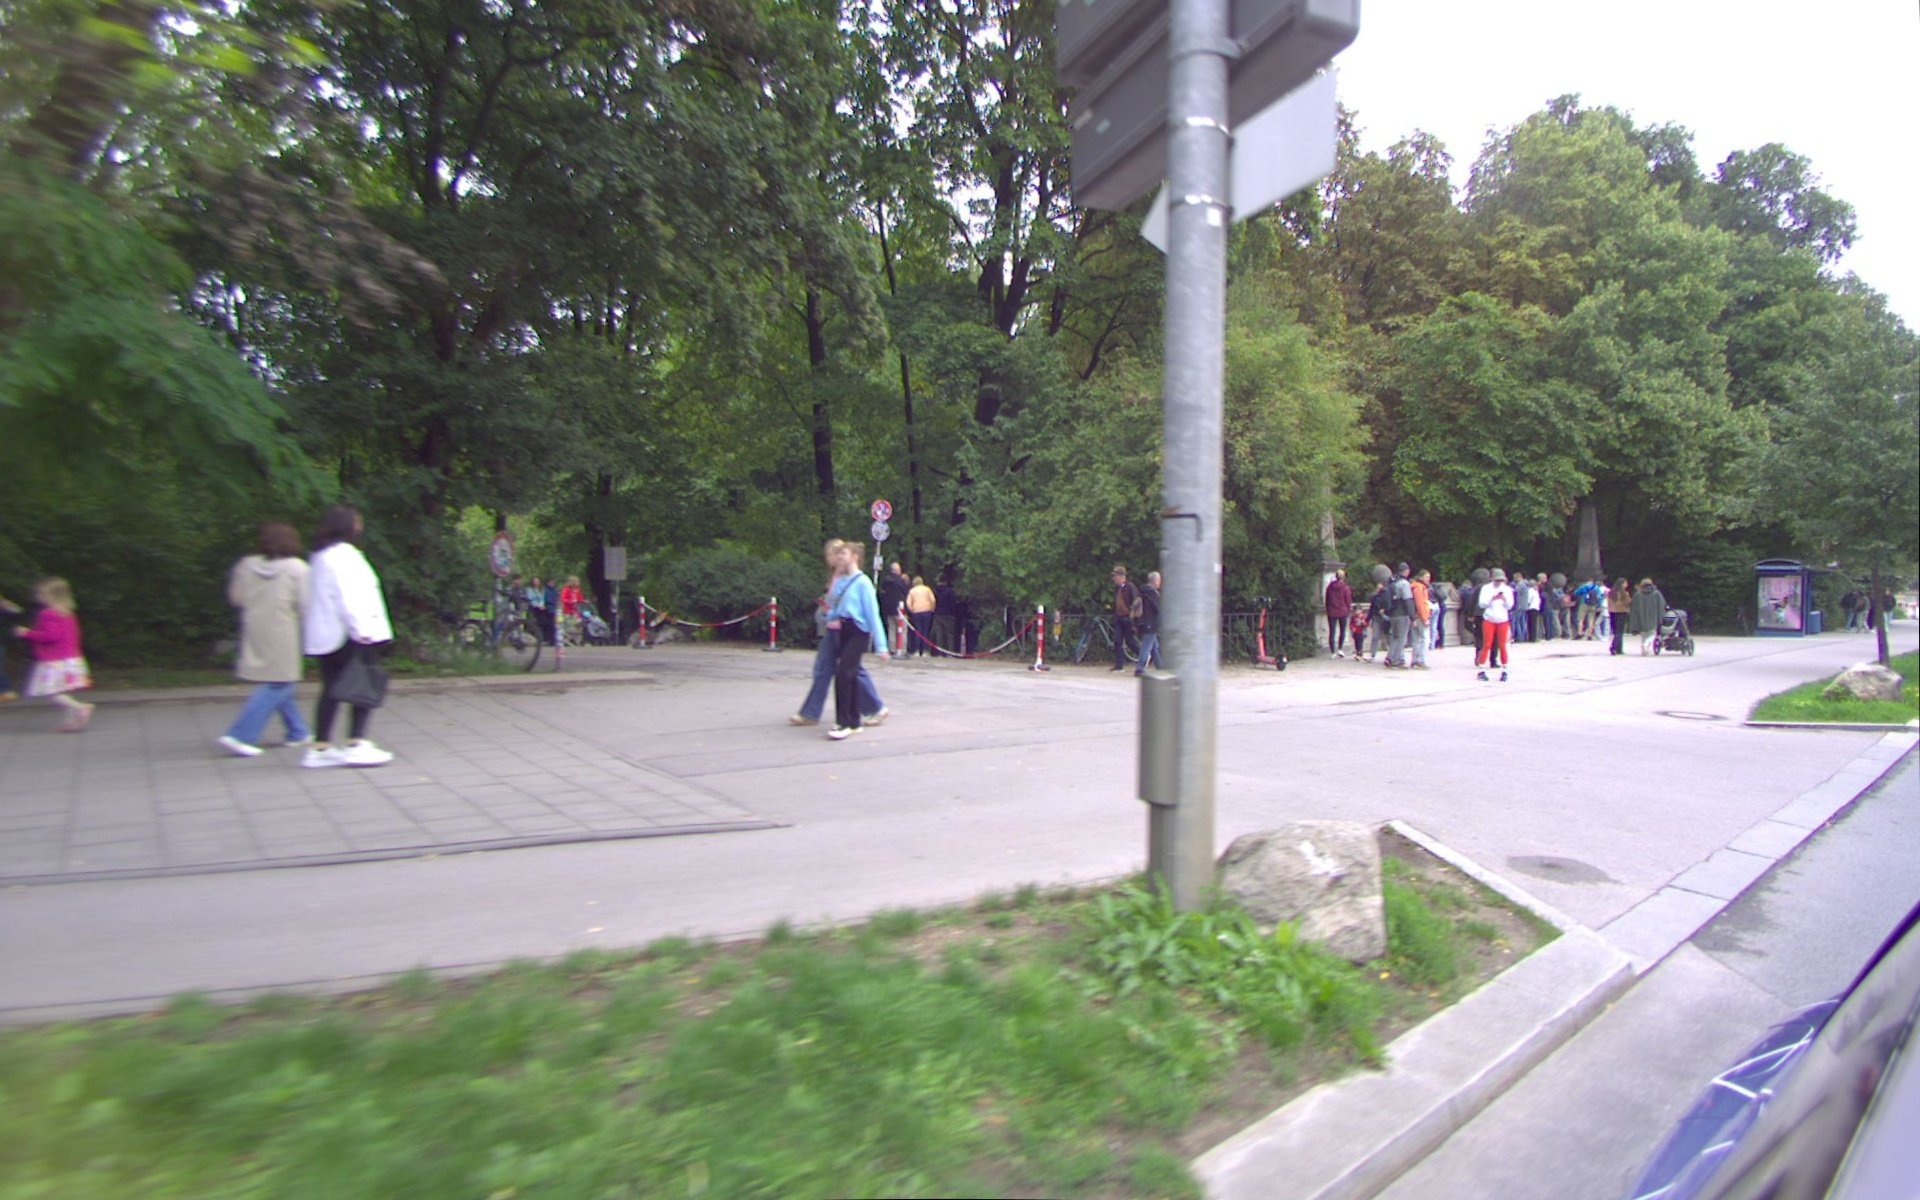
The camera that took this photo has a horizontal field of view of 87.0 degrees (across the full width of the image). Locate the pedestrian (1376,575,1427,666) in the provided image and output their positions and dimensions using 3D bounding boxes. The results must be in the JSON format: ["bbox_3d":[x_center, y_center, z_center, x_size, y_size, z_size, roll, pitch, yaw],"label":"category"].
[{"bbox_3d":[7.678,0.340,17.599,0.636,1.547,0.551,0,0,-36],"label":"pedestrian"}]

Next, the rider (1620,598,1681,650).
[{"bbox_3d":[15.596,0.531,22.857,1.221,1.126,0.767,0,0,-36],"label":"rider"}]

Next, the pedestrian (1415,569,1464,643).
[{"bbox_3d":[11.323,0.123,23.902,0.715,1.712,0.814,0,1,-38],"label":"pedestrian"}]

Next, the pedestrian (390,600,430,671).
[{"bbox_3d":[-13.479,0.856,24.792,0.687,1.717,0.605,0,0,31],"label":"pedestrian"}]

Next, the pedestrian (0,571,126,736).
[{"bbox_3d":[-6.582,0.369,7.439,0.561,1.151,0.634,0,0,-25],"label":"pedestrian"}]

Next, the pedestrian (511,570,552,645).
[{"bbox_3d":[-9.984,0.166,23.583,0.687,1.717,0.605,0,0,31],"label":"pedestrian"}]

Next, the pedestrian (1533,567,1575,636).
[{"bbox_3d":[16.612,0.037,28.297,0.715,1.875,0.814,0,0,-38],"label":"pedestrian"}]

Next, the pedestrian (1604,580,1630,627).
[{"bbox_3d":[25.291,0.138,38.946,0.522,1.790,0.639,0,0,-9],"label":"pedestrian"}]

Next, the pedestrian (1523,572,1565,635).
[{"bbox_3d":[16.056,0.089,27.848,0.661,1.712,0.814,0,0,-38],"label":"pedestrian"}]

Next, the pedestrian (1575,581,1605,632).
[{"bbox_3d":[19.287,0.193,30.981,0.523,1.526,0.637,0,0,-38],"label":"pedestrian"}]

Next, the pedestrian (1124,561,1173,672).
[{"bbox_3d":[2.908,0.252,15.621,0.683,1.672,0.608,0,0,17],"label":"pedestrian"}]

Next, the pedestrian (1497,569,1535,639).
[{"bbox_3d":[13.853,0.098,25.213,0.715,1.712,0.593,0,0,-38],"label":"pedestrian"}]

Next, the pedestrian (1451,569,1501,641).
[{"bbox_3d":[12.708,0.114,24.937,0.715,1.711,0.814,0,2,-38],"label":"pedestrian"}]

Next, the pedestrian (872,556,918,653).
[{"bbox_3d":[-1.169,0.076,18.372,0.683,1.717,0.608,0,0,14],"label":"pedestrian"}]

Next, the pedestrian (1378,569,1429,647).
[{"bbox_3d":[9.978,0.174,22.790,0.715,1.712,0.814,0,0,-38],"label":"pedestrian"}]

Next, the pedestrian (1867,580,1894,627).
[{"bbox_3d":[35.943,0.142,39.521,0.628,1.831,0.709,0,0,-41],"label":"pedestrian"}]

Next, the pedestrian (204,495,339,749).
[{"bbox_3d":[-4.817,0.139,7.129,0.676,1.664,0.758,0,0,-25],"label":"pedestrian"}]

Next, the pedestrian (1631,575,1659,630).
[{"bbox_3d":[22.635,0.085,33.427,0.523,1.790,0.637,0,0,-38],"label":"pedestrian"}]

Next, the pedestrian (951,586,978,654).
[{"bbox_3d":[0.101,0.447,22.552,0.507,1.492,0.409,0,0,-19],"label":"pedestrian"}]

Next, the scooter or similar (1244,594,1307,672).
[{"bbox_3d":[5.414,0.542,17.443,0.341,1.272,1.570,0,0,-10],"label":"scooter or similar"}]

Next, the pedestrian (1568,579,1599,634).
[{"bbox_3d":[18.853,0.196,30.603,0.523,1.637,0.637,0,0,-38],"label":"pedestrian"}]

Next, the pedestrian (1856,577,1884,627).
[{"bbox_3d":[35.733,0.066,39.746,0.940,1.939,0.709,0,0,-41],"label":"pedestrian"}]

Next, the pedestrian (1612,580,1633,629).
[{"bbox_3d":[20.720,0.145,31.643,0.434,1.526,0.421,0,0,-38],"label":"pedestrian"}]

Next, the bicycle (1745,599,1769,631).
[{"bbox_3d":[27.578,0.519,35.015,1.549,1.074,0.393,0,0,-41],"label":"bicycle"}]

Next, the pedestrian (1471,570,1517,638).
[{"bbox_3d":[13.737,0.106,26.046,0.715,1.712,0.814,0,0,-38],"label":"pedestrian"}]

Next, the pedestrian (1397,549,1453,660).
[{"bbox_3d":[8.328,0.074,18.139,0.678,1.939,0.612,0,0,-24],"label":"pedestrian"}]

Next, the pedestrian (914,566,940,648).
[{"bbox_3d":[-0.735,0.143,22.409,0.427,1.785,0.528,0,0,-19],"label":"pedestrian"}]

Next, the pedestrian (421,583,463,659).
[{"bbox_3d":[-11.995,0.472,23.436,0.687,1.717,0.605,0,0,31],"label":"pedestrian"}]

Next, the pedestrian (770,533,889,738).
[{"bbox_3d":[-1.140,0.285,8.766,0.832,1.664,0.758,0,0,-25],"label":"pedestrian"}]

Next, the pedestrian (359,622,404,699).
[{"bbox_3d":[-13.277,1.377,23.231,0.683,1.717,0.608,0,0,14],"label":"pedestrian"}]

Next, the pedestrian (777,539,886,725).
[{"bbox_3d":[-1.230,0.281,9.586,0.832,1.664,0.758,0,0,-25],"label":"pedestrian"}]

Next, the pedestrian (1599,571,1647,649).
[{"bbox_3d":[14.905,0.215,22.759,0.636,1.712,0.728,0,0,-36],"label":"pedestrian"}]

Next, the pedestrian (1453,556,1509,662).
[{"bbox_3d":[9.503,0.158,18.462,0.678,1.896,0.612,0,0,-24],"label":"pedestrian"}]

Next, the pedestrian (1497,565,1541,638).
[{"bbox_3d":[14.907,0.040,26.977,0.715,1.898,0.814,0,0,-38],"label":"pedestrian"}]

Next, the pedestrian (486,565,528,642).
[{"bbox_3d":[-10.310,0.074,23.049,0.687,1.717,0.605,0,0,31],"label":"pedestrian"}]

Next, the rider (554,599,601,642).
[{"bbox_3d":[-8.708,0.452,23.028,0.884,0.953,0.605,0,0,31],"label":"rider"}]

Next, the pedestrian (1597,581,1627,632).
[{"bbox_3d":[20.006,0.191,31.072,0.523,1.526,0.637,0,0,-38],"label":"pedestrian"}]

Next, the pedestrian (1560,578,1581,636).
[{"bbox_3d":[18.137,0.208,30.073,0.435,1.725,0.421,0,0,-40],"label":"pedestrian"}]

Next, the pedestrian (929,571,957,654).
[{"bbox_3d":[-0.369,0.269,21.945,0.507,1.785,0.409,0,0,-19],"label":"pedestrian"}]

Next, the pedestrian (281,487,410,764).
[{"bbox_3d":[-3.953,0.151,6.562,0.637,1.664,0.758,0,0,-25],"label":"pedestrian"}]

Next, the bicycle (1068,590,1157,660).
[{"bbox_3d":[2.814,0.452,18.659,1.581,1.255,0.389,0,0,23],"label":"bicycle"}]

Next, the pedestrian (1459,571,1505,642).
[{"bbox_3d":[13.190,0.149,25.586,0.715,1.761,0.814,0,0,-38],"label":"pedestrian"}]

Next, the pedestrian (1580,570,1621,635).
[{"bbox_3d":[18.617,0.074,29.404,0.715,1.852,0.814,0,0,-38],"label":"pedestrian"}]

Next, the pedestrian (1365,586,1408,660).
[{"bbox_3d":[7.854,0.409,18.635,0.636,1.343,0.459,0,0,-36],"label":"pedestrian"}]

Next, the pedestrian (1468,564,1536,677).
[{"bbox_3d":[8.484,0.305,15.858,0.636,1.712,0.728,0,0,-36],"label":"pedestrian"}]

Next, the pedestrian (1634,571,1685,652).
[{"bbox_3d":[15.276,0.242,22.103,0.636,1.712,0.728,0,0,-36],"label":"pedestrian"}]

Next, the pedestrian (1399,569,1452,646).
[{"bbox_3d":[10.749,0.153,23.376,0.715,1.711,0.814,0,2,-38],"label":"pedestrian"}]

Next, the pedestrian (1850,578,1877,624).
[{"bbox_3d":[36.176,0.039,40.514,0.933,1.831,0.709,0,0,-41],"label":"pedestrian"}]

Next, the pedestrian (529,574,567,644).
[{"bbox_3d":[-10.314,0.223,25.335,0.687,1.717,0.605,0,0,31],"label":"pedestrian"}]

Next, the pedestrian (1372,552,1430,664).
[{"bbox_3d":[7.693,0.133,17.663,0.678,1.896,0.612,0,0,-24],"label":"pedestrian"}]

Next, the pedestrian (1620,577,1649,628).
[{"bbox_3d":[22.055,0.074,33.094,0.523,1.647,0.637,0,0,-38],"label":"pedestrian"}]

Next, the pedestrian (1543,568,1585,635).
[{"bbox_3d":[17.217,0.037,28.863,0.715,1.875,0.814,0,0,-38],"label":"pedestrian"}]

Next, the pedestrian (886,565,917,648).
[{"bbox_3d":[-1.279,0.146,22.167,0.540,1.785,0.612,0,0,-19],"label":"pedestrian"}]

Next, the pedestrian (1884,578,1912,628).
[{"bbox_3d":[36.917,0.131,39.835,0.940,1.939,0.709,0,0,-41],"label":"pedestrian"}]

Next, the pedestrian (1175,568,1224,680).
[{"bbox_3d":[3.516,0.337,14.850,0.683,1.598,0.608,0,0,14],"label":"pedestrian"}]

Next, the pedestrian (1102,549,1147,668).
[{"bbox_3d":[2.690,0.136,16.535,0.683,1.896,0.608,0,0,14],"label":"pedestrian"}]

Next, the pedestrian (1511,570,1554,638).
[{"bbox_3d":[15.496,0.108,27.407,0.715,1.813,0.814,0,0,-38],"label":"pedestrian"}]

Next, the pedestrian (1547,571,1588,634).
[{"bbox_3d":[17.642,0.071,29.393,0.715,1.790,0.814,0,0,-38],"label":"pedestrian"}]

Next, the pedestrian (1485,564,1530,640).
[{"bbox_3d":[14.325,0.056,26.496,0.715,1.941,0.814,0,0,-38],"label":"pedestrian"}]

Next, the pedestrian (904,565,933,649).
[{"bbox_3d":[-0.889,0.148,21.655,0.556,1.785,0.522,0,0,-10],"label":"pedestrian"}]
